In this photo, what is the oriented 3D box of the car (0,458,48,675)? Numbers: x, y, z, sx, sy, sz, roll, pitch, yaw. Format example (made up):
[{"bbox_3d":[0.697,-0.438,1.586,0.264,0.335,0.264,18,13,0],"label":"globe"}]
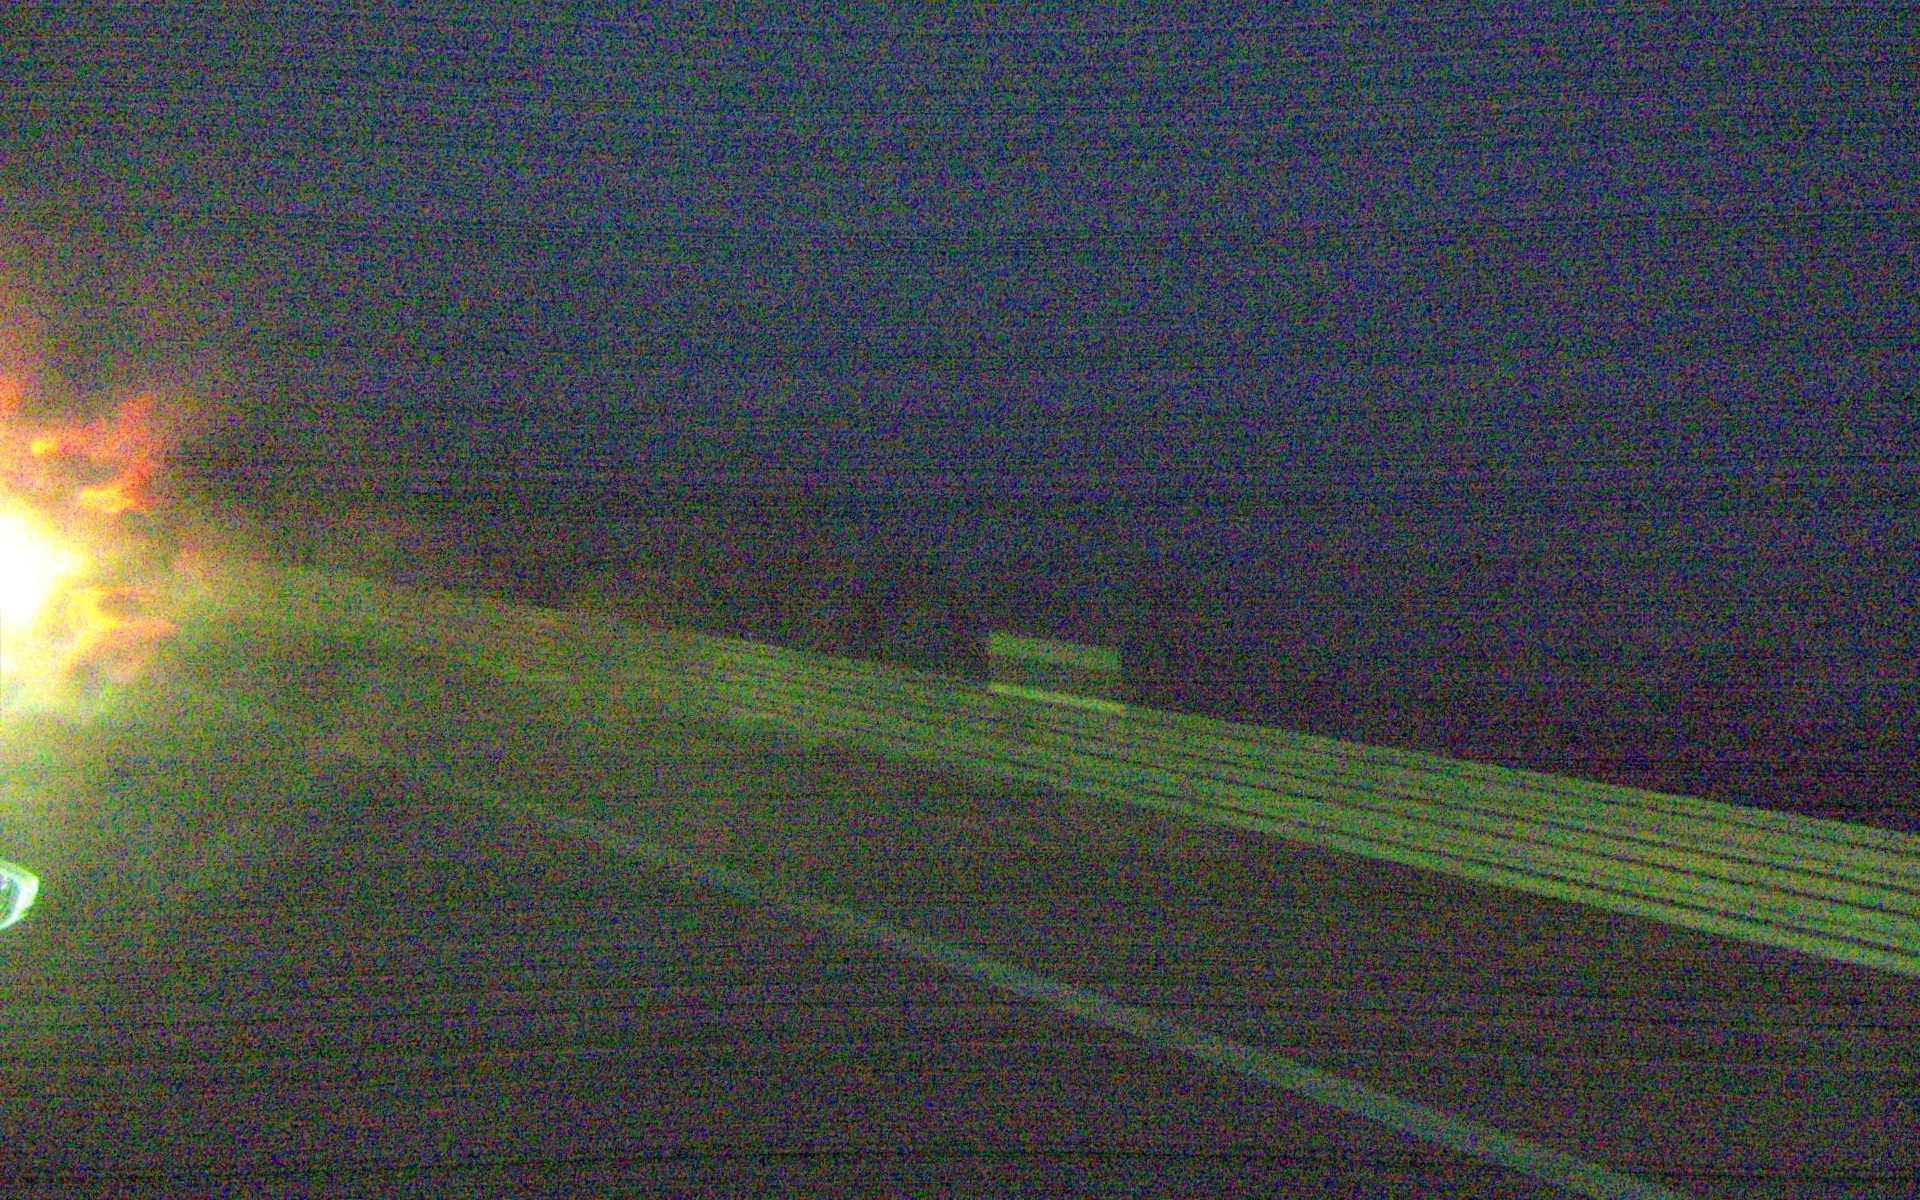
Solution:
[{"bbox_3d":[-10.496,-0.571,9.118,5.039,1.815,1.954,7,2,32],"label":"car"}]
